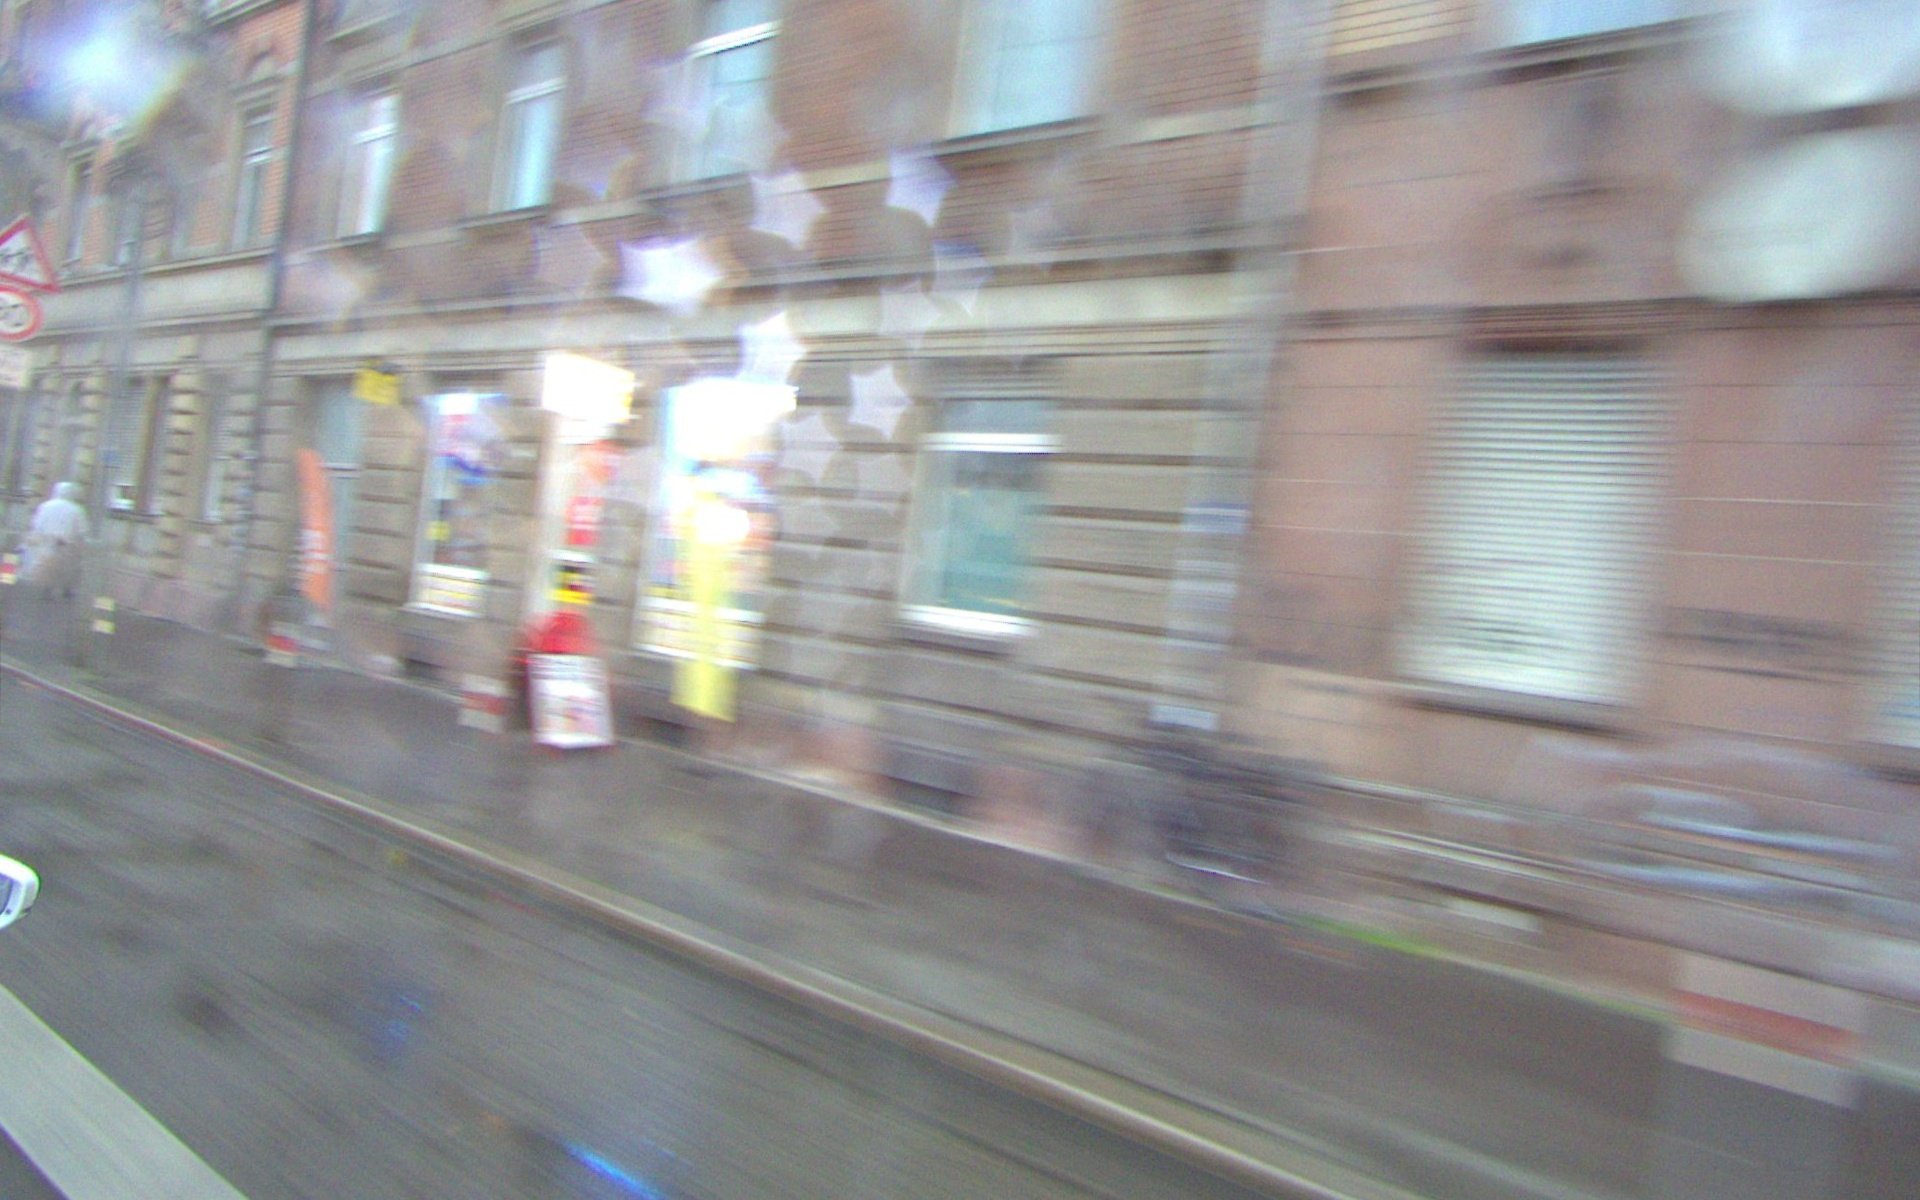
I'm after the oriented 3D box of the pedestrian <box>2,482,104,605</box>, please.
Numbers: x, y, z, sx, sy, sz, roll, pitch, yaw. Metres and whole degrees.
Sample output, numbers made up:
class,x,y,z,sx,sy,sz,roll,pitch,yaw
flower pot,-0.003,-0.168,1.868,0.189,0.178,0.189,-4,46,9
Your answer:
class,x,y,z,sx,sy,sz,roll,pitch,yaw
pedestrian,-12.957,-0.802,14.385,0.729,1.616,0.787,7,0,32

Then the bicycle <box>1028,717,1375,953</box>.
class,x,y,z,sx,sy,sz,roll,pitch,yaw
bicycle,1.350,1.291,5.848,1.835,0.922,0.398,7,0,32
